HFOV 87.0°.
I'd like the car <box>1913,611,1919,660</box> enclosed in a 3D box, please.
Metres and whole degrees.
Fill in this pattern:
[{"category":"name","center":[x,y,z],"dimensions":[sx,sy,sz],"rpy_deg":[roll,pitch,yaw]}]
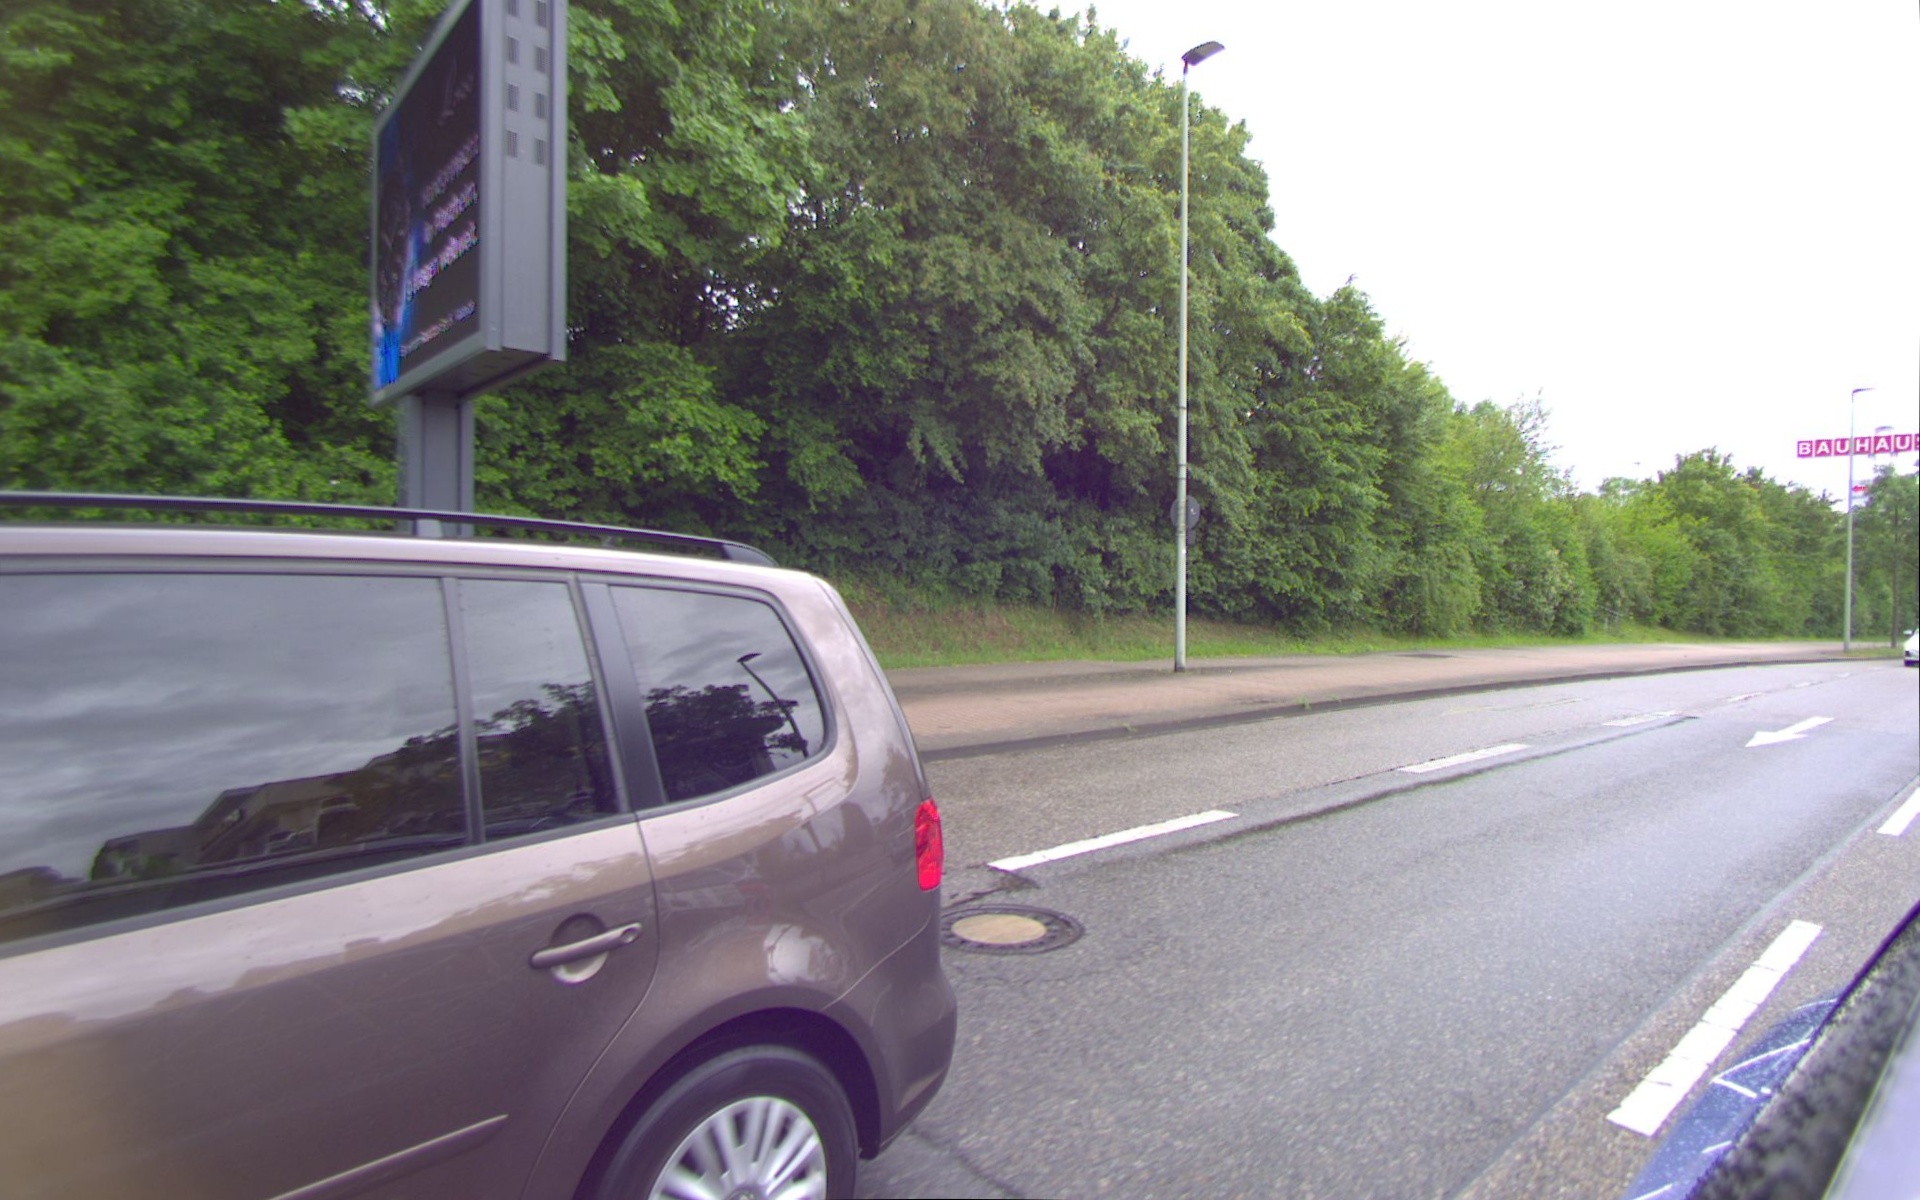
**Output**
[{"category":"car","center":[31.494,1.136,31.624],"dimensions":[3.925,1.500,1.865],"rpy_deg":[2,0,-37]}]

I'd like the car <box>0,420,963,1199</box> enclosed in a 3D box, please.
[{"category":"car","center":[-2.067,0.574,1.529],"dimensions":[4.060,1.617,1.716],"rpy_deg":[1,0,-43]}]
